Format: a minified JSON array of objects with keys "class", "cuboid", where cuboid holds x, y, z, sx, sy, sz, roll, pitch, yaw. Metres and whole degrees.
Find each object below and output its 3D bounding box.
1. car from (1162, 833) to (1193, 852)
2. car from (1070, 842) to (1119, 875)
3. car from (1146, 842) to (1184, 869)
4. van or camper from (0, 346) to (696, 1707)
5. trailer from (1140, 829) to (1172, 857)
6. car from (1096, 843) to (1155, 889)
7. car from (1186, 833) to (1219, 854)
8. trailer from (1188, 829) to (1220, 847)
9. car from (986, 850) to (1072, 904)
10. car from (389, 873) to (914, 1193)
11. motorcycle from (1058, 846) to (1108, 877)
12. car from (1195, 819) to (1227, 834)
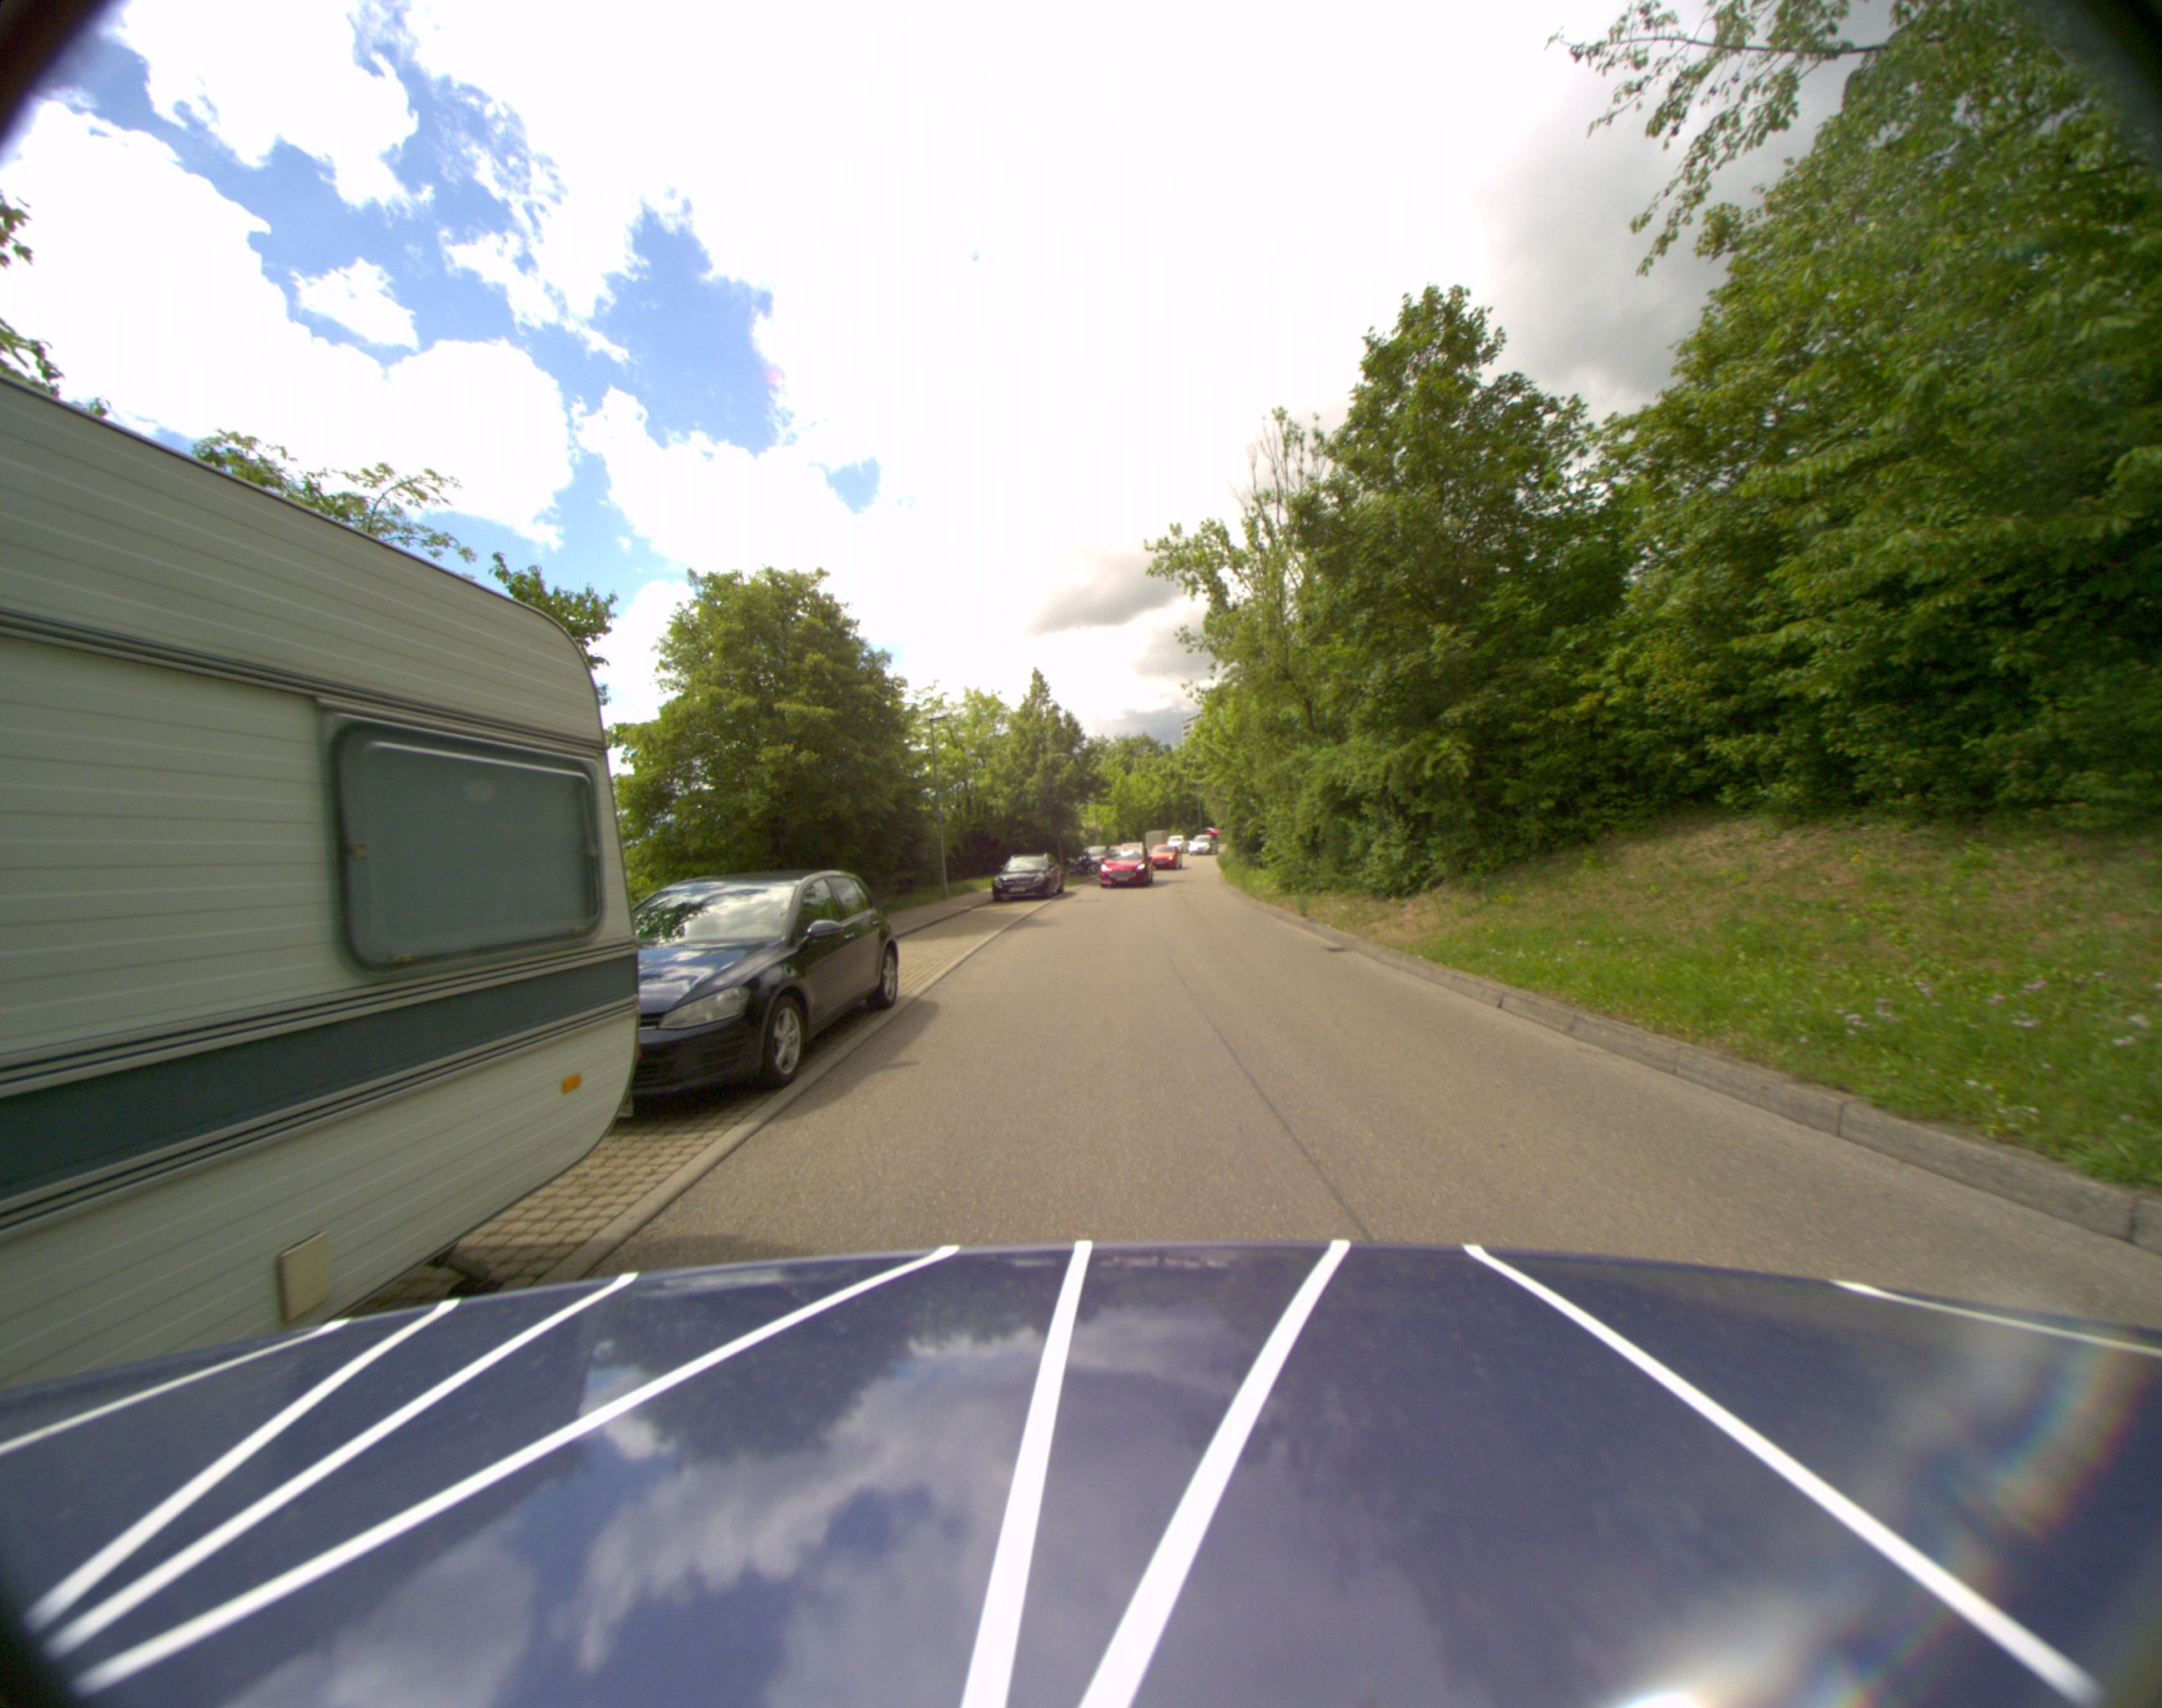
[{"class":"car","cuboid":[8.556,-1.033,67.044,1.707,1.469,3.787,-1,3,23]},{"class":"car","cuboid":[0.795,0.203,41.624,1.772,1.509,4.109,-3,2,13]},{"class":"car","cuboid":[5.021,0.056,45.150,1.794,1.405,4.115,0,3,12]},{"class":"van or camper","cuboid":[-2.876,0.501,0.672,2.360,2.539,5.073,-2,1,0]},{"class":"trailer","cuboid":[6.058,-0.934,61.342,1.732,2.067,3.786,-1,3,18]},{"class":"car","cuboid":[1.884,0.426,30.875,1.910,1.689,4.389,-1,2,10]},{"class":"car","cuboid":[10.203,-0.899,63.586,1.793,1.500,4.118,-2,2,21]},{"class":"trailer","cuboid":[12.290,-1.648,75.673,1.811,1.570,4.495,-1,3,27]},{"class":"car","cuboid":[-1.635,0.702,25.490,1.897,1.521,4.548,-3,0,8]},{"class":"car","cuboid":[-2.762,1.008,6.264,1.686,1.442,4.479,-3,1,0]},{"class":"motorcycle","cuboid":[0.101,0.371,37.934,2.306,1.468,0.977,0,3,36]},{"class":"car","cuboid":[15.746,-3.341,92.256,1.654,1.510,3.478,-8,5,-44]}]
